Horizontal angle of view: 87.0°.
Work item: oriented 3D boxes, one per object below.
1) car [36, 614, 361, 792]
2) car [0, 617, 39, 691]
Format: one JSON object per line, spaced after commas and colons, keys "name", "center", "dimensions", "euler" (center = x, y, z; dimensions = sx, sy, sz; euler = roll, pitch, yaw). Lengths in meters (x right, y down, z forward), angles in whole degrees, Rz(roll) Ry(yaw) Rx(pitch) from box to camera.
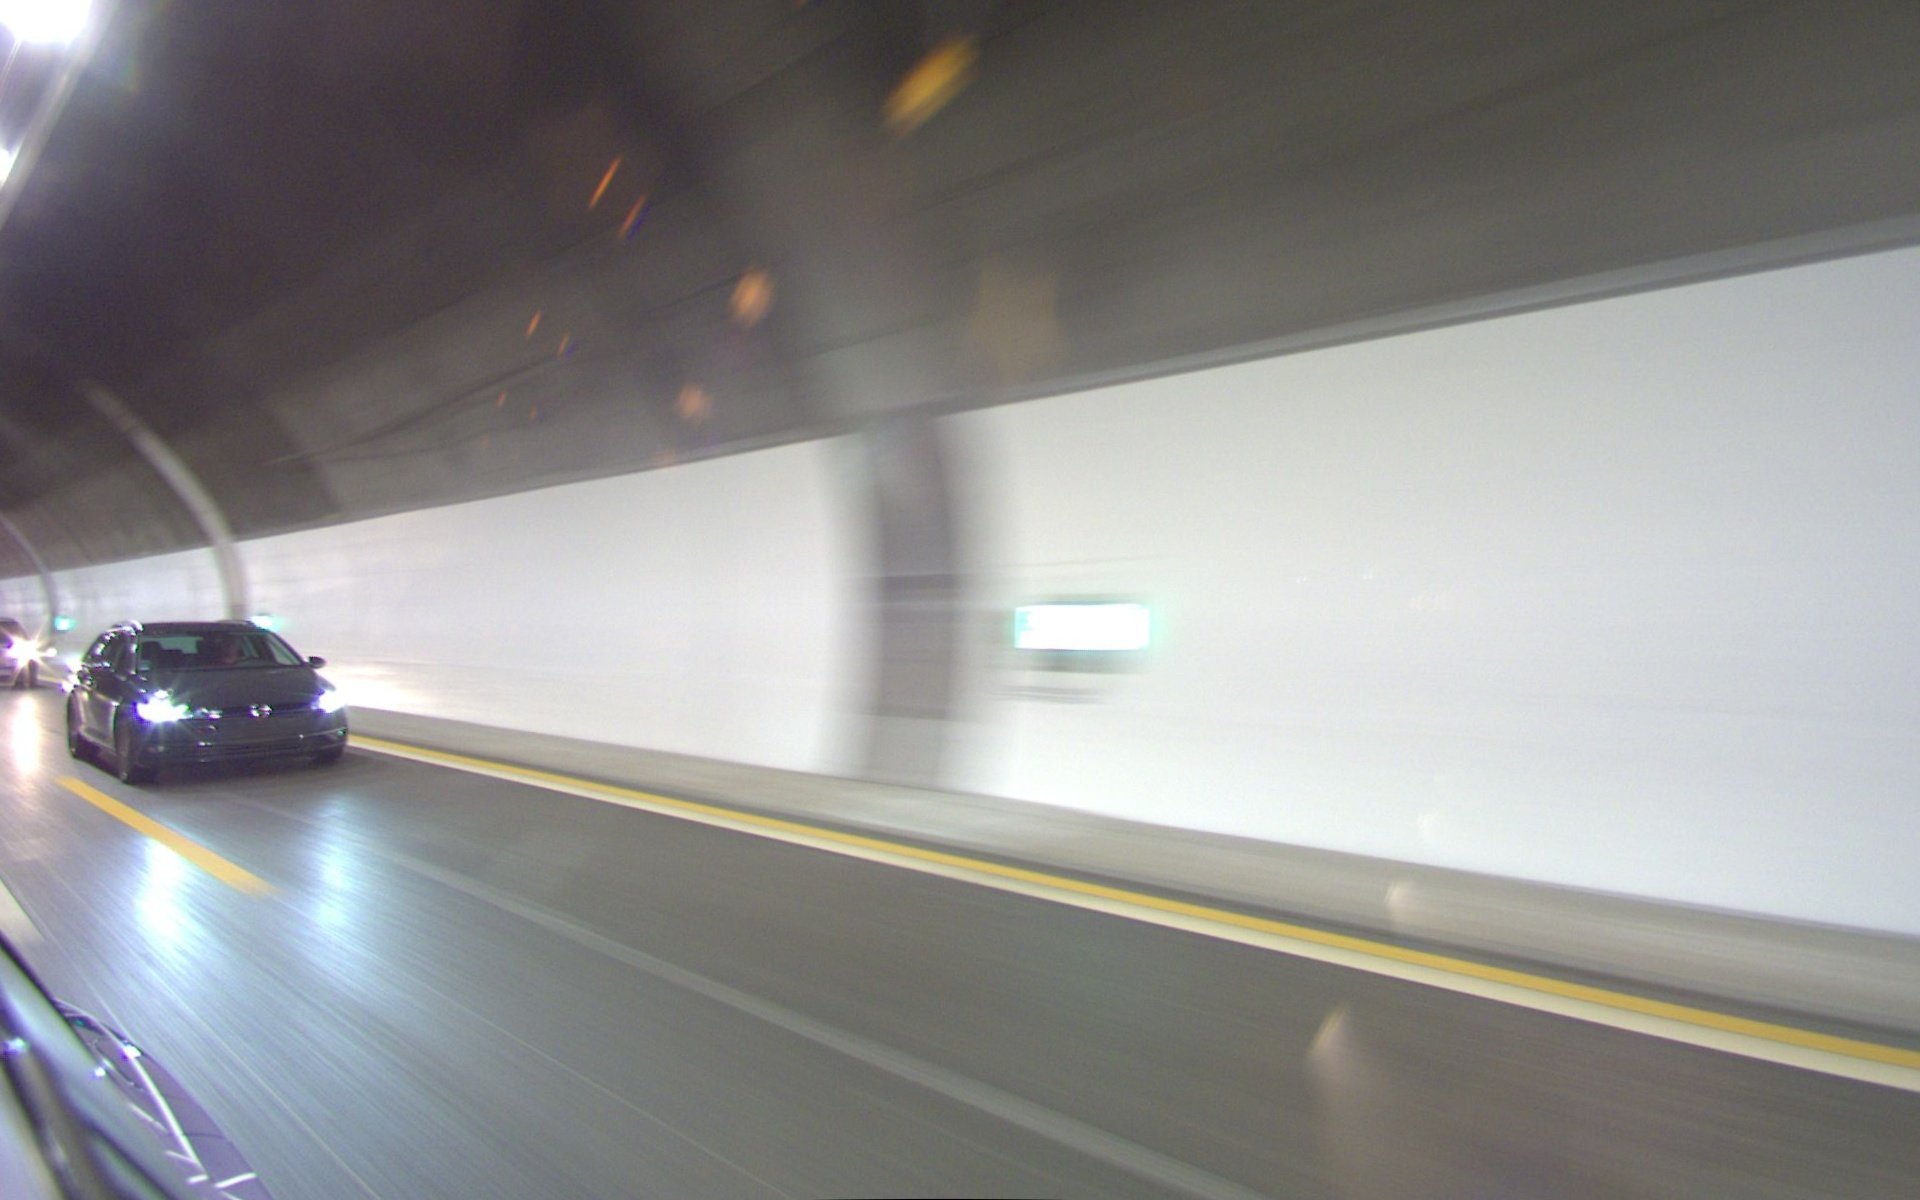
{"name": "car", "center": [-8.173, 0.909, 10.661], "dimensions": [4.880, 1.449, 1.759], "euler": [-2, -1, 41]}
{"name": "car", "center": [-21.147, 1.160, 21.835], "dimensions": [2.648, 1.528, 1.512], "euler": [-1, -1, 39]}
